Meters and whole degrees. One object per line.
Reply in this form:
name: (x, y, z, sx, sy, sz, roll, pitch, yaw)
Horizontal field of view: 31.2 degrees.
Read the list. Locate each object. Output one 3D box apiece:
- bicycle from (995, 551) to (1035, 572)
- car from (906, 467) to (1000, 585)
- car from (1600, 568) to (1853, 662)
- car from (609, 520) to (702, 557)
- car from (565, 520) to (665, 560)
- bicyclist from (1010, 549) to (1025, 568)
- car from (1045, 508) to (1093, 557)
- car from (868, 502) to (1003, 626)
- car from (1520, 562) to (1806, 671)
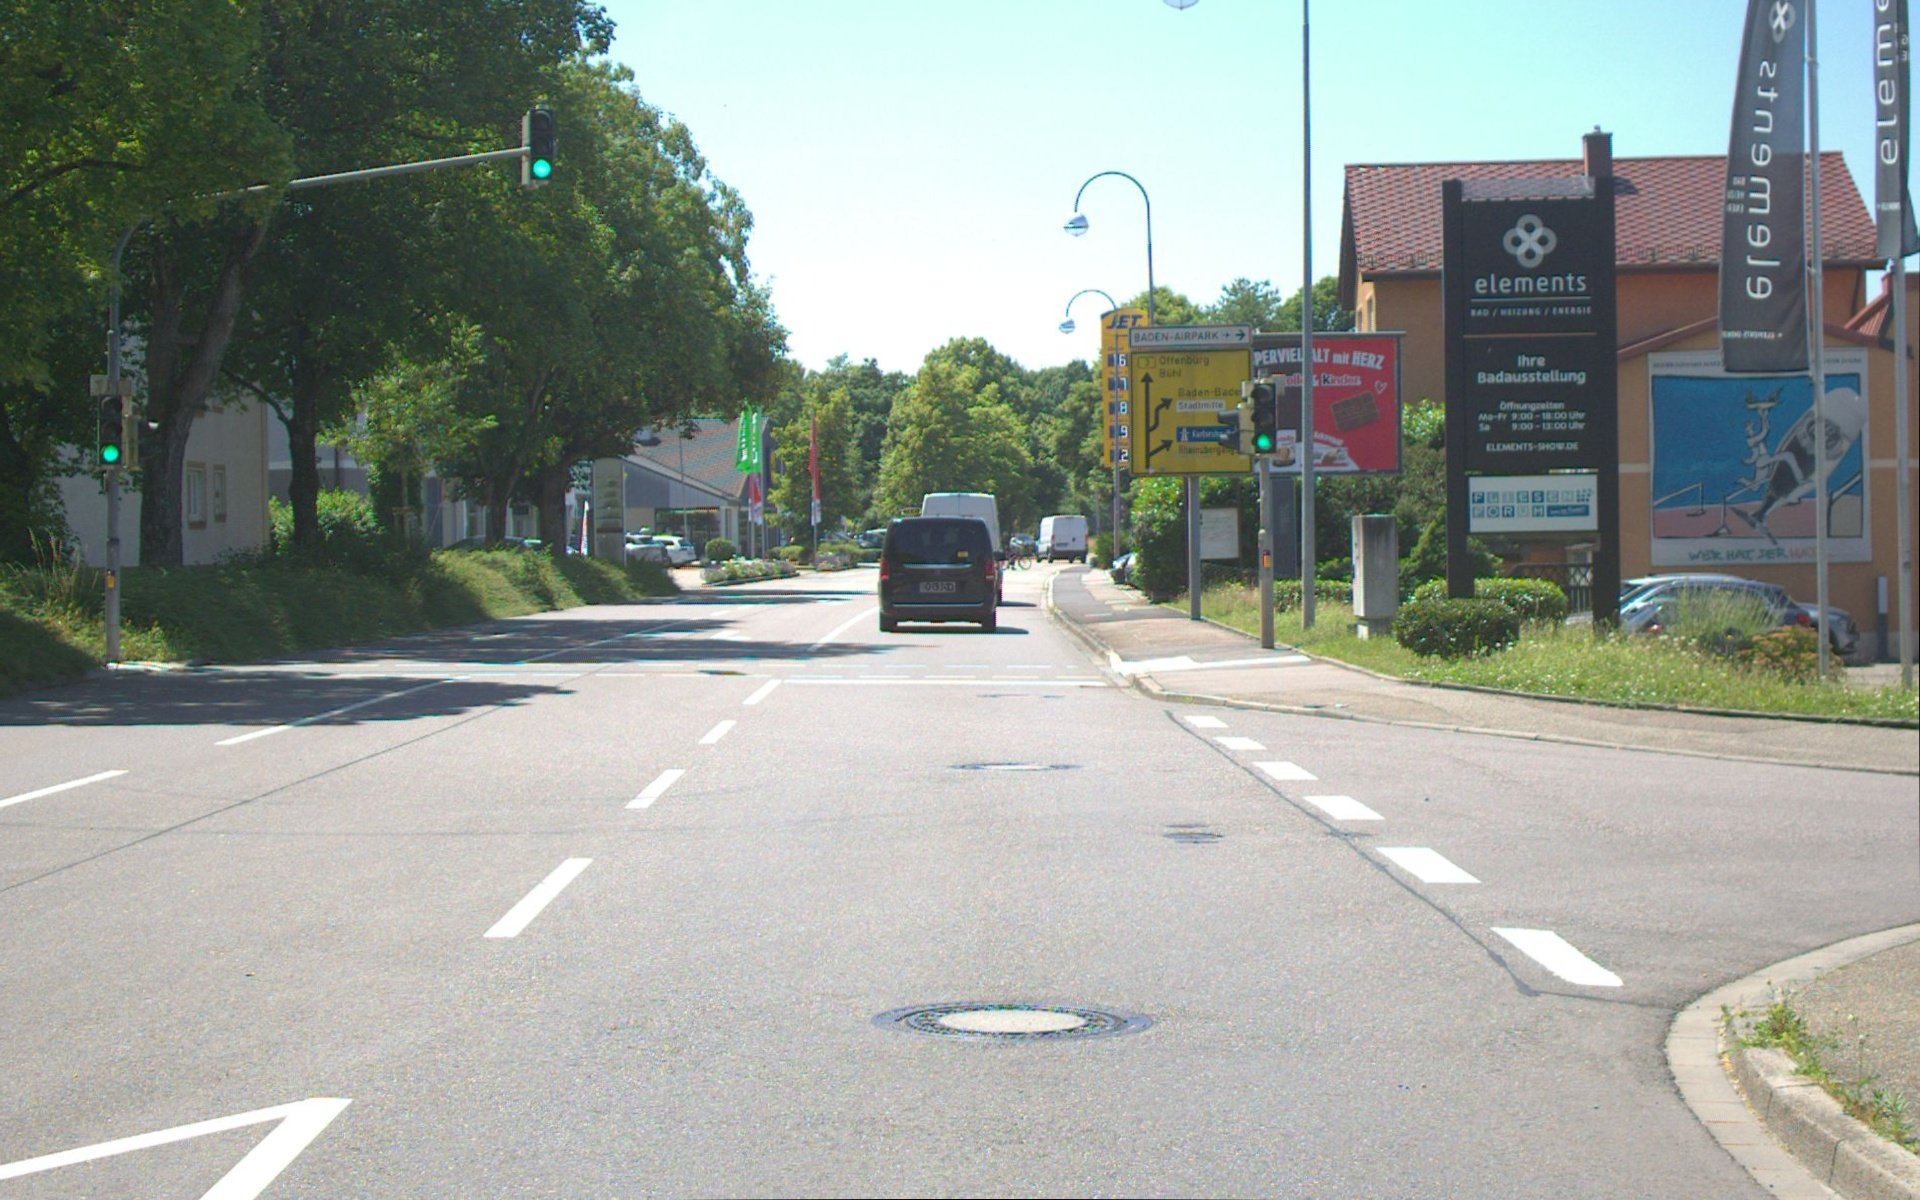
bicycle: (2.497, -1.749, 156.191, 1.715, 0.884, 0.558, -2, 4, -22)
car: (-0.144, -1.787, 81.215, 2.120, 2.668, 5.662, 1, 2, 1)
car: (13.675, 0.265, 61.533, 4.260, 1.593, 1.889, 0, 2, 8)
car: (-14.347, -2.915, 161.964, 3.989, 1.656, 1.999, 1, 2, 11)
car: (-15.469, -2.707, 154.223, 4.045, 1.700, 1.901, 1, 2, 18)
bicyclist: (2.610, -1.878, 156.232, 0.468, 0.850, 0.558, -2, 4, -22)
car: (5.916, -3.668, 186.530, 2.352, 2.538, 4.956, 1, 2, -1)
car: (-0.439, -0.620, 55.680, 1.993, 1.886, 4.001, 0, 2, -3)
car: (11.381, 0.254, 55.876, 4.272, 1.641, 1.890, 1, 2, 2)
